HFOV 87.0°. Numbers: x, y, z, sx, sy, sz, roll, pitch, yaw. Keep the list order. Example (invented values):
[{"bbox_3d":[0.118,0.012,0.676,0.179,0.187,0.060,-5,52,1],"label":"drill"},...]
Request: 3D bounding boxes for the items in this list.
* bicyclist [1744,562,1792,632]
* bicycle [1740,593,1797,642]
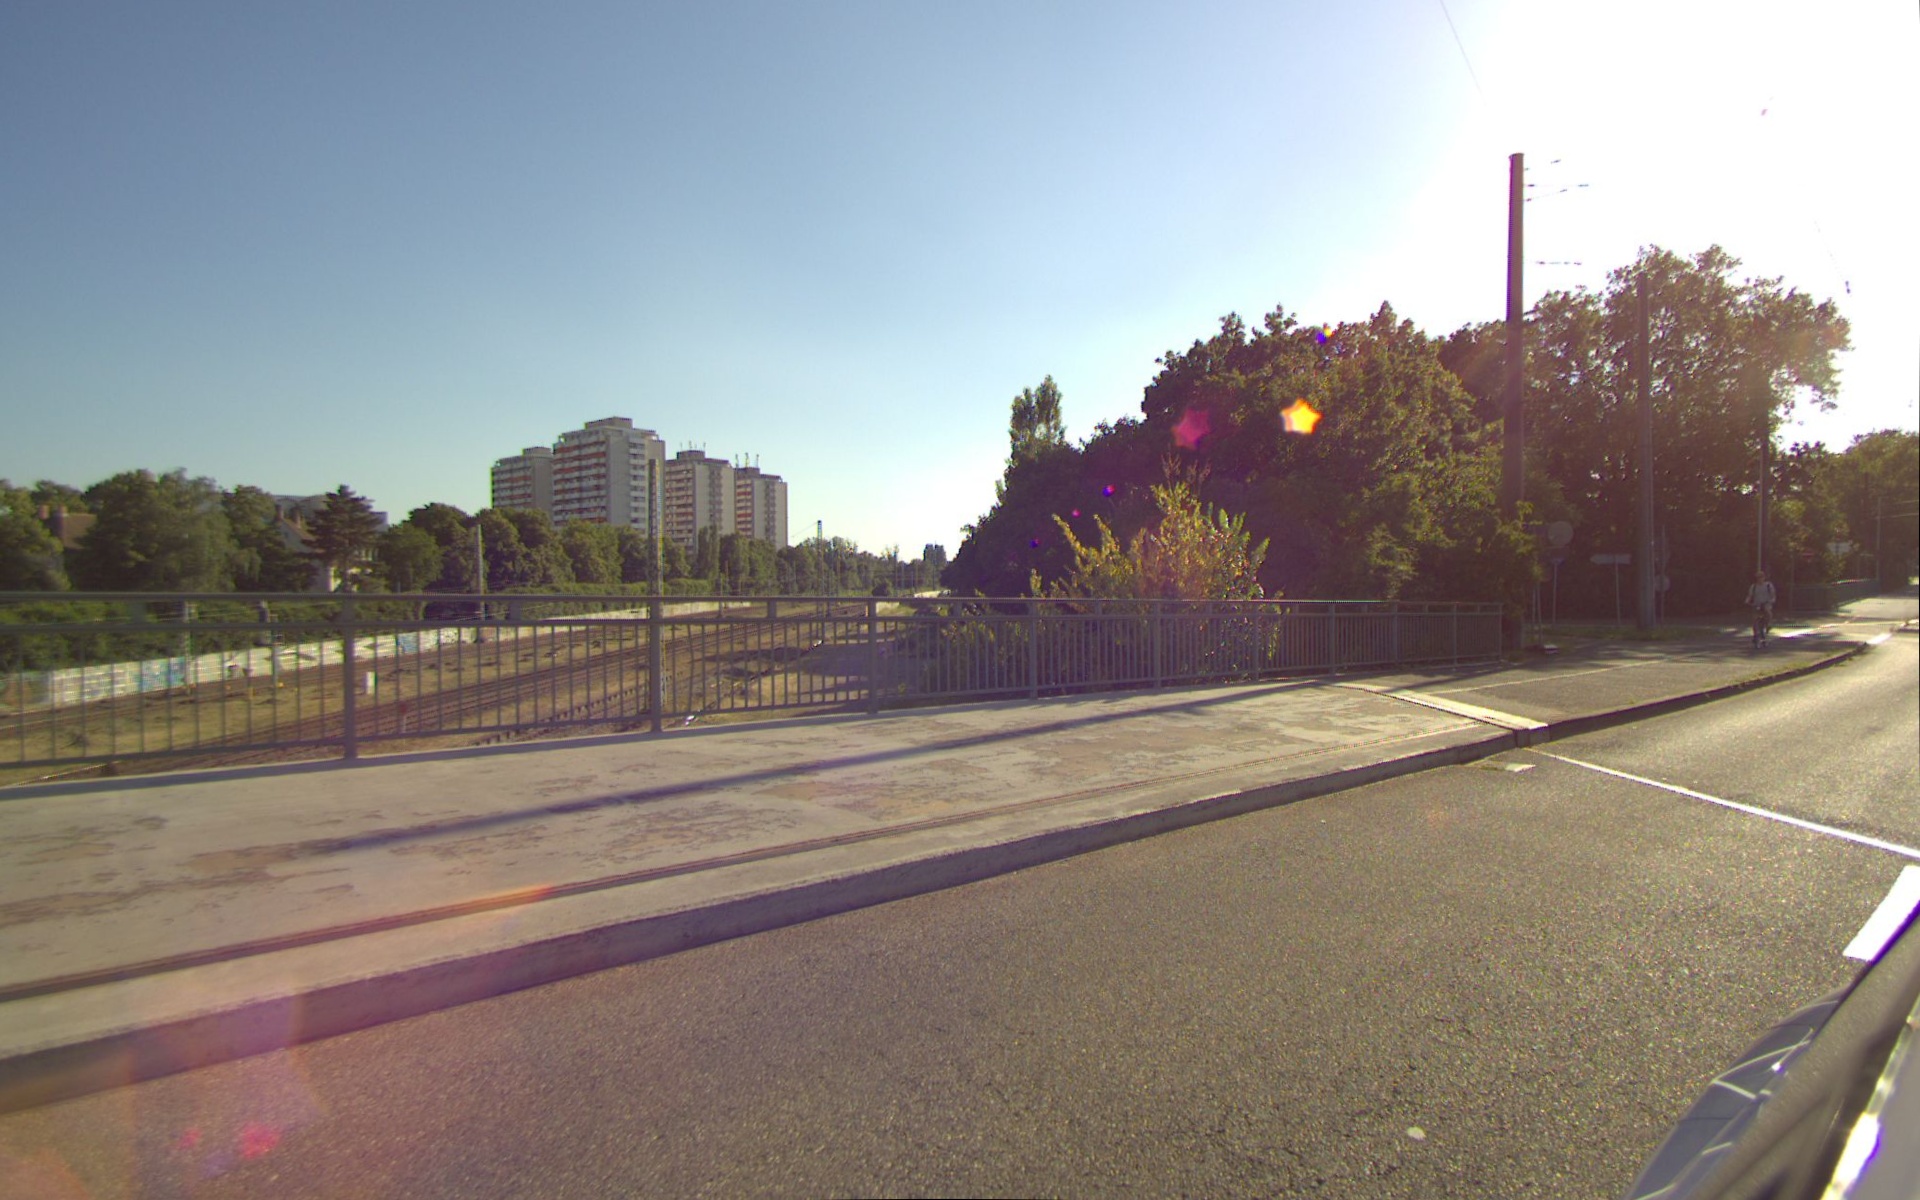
[{"bbox_3d":[20.373,-0.070,25.514,1.182,1.711,0.731,-1,-2,-44],"label":"bicyclist"},{"bbox_3d":[20.376,0.430,25.478,2.697,1.137,0.731,-1,-1,-44],"label":"bicycle"}]
